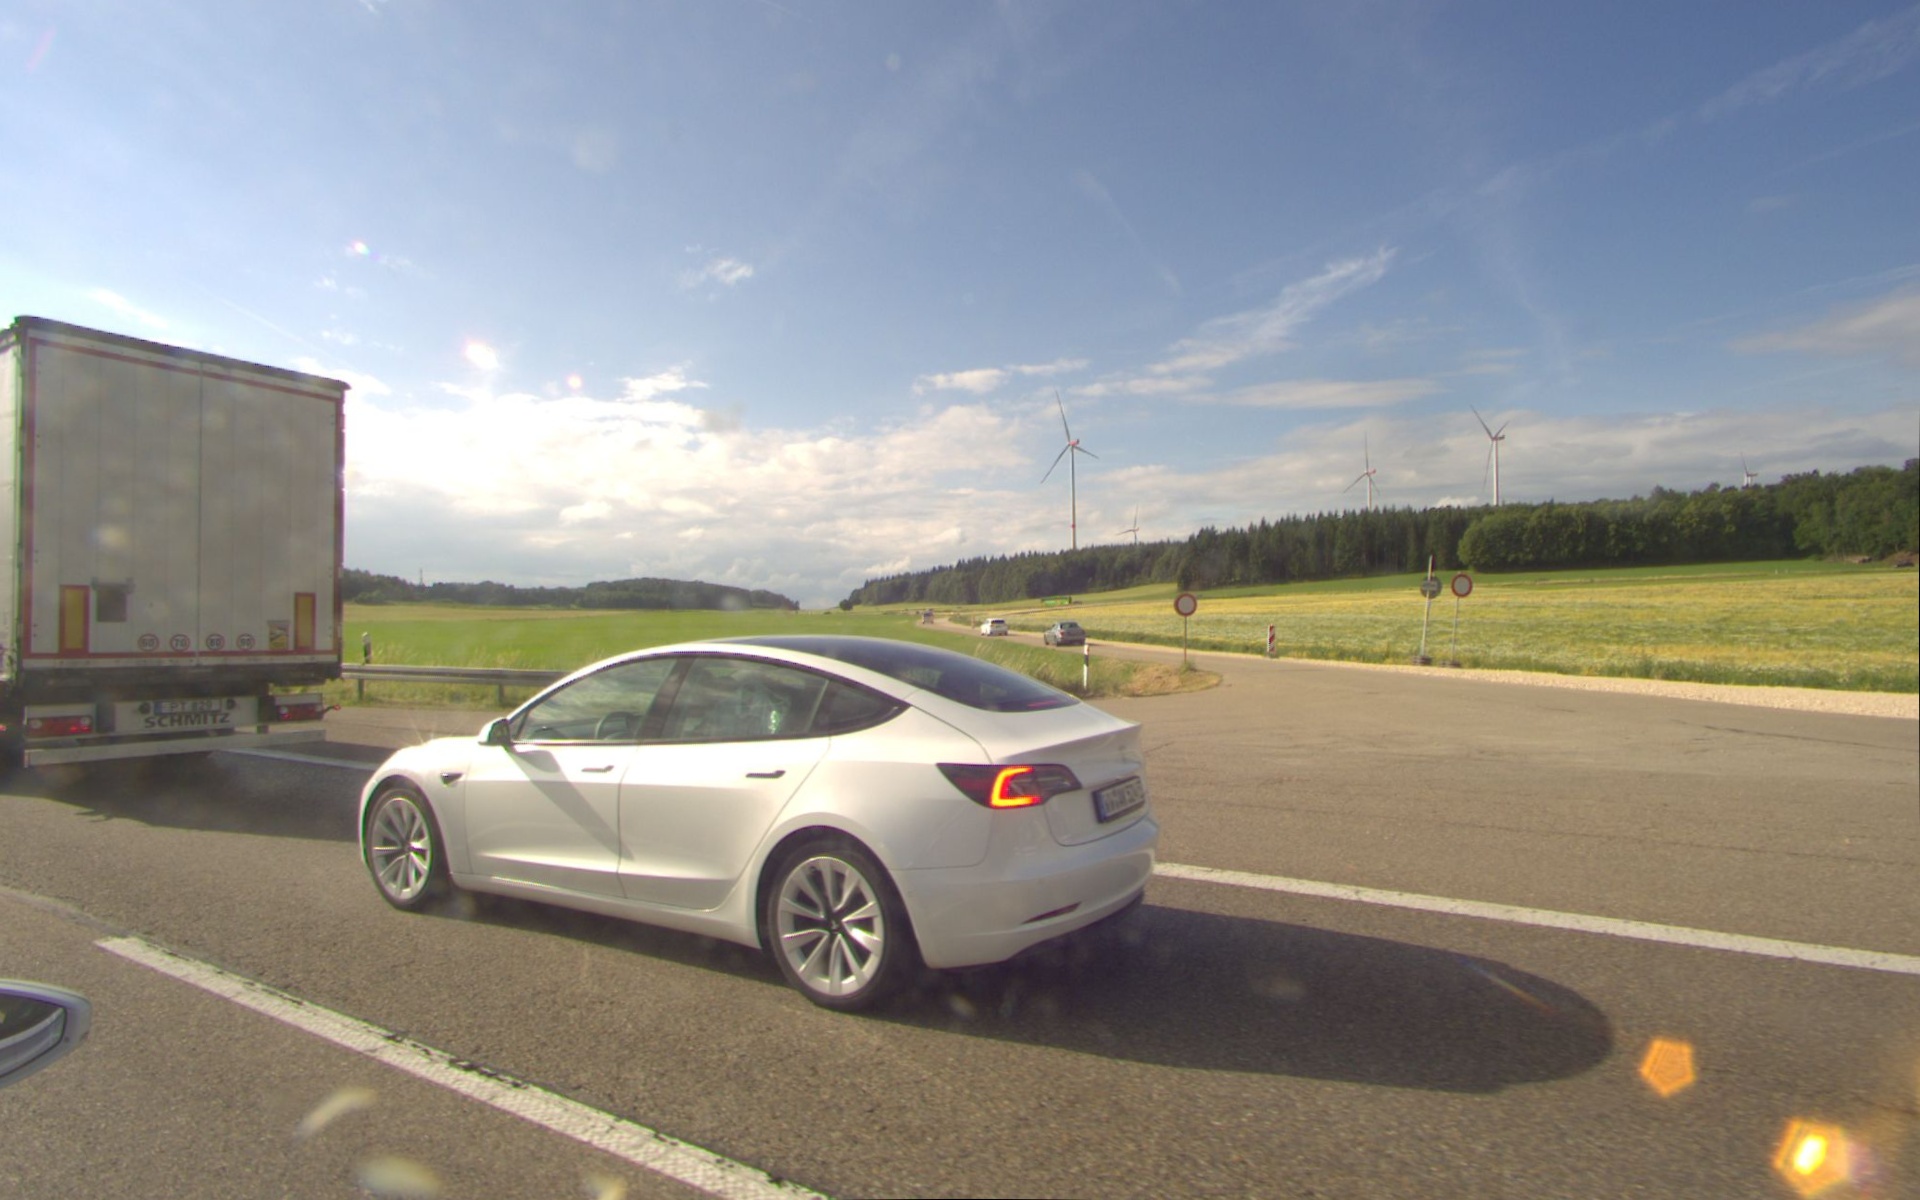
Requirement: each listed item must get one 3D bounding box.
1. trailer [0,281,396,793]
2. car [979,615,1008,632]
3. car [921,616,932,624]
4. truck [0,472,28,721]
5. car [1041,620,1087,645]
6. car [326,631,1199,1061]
[{"bbox_3d":[-12.340,-0.234,12.777,13.178,4.061,3.125,-2,-2,32],"label":"trailer"},{"bbox_3d":[2.842,2.050,86.373,1.677,1.450,4.230,-1,-1,-10],"label":"car"},{"bbox_3d":[-5.857,3.424,172.528,1.676,1.450,4.232,-1,-1,-5],"label":"car"},{"bbox_3d":[-18.456,-0.007,16.653,5.091,4.066,3.128,-2,-2,32],"label":"truck"},{"bbox_3d":[6.286,1.977,61.063,1.677,1.450,4.230,-1,-1,-10],"label":"car"},{"bbox_3d":[-1.161,0.876,5.204,4.370,1.412,1.787,-1,-1,30],"label":"car"}]
